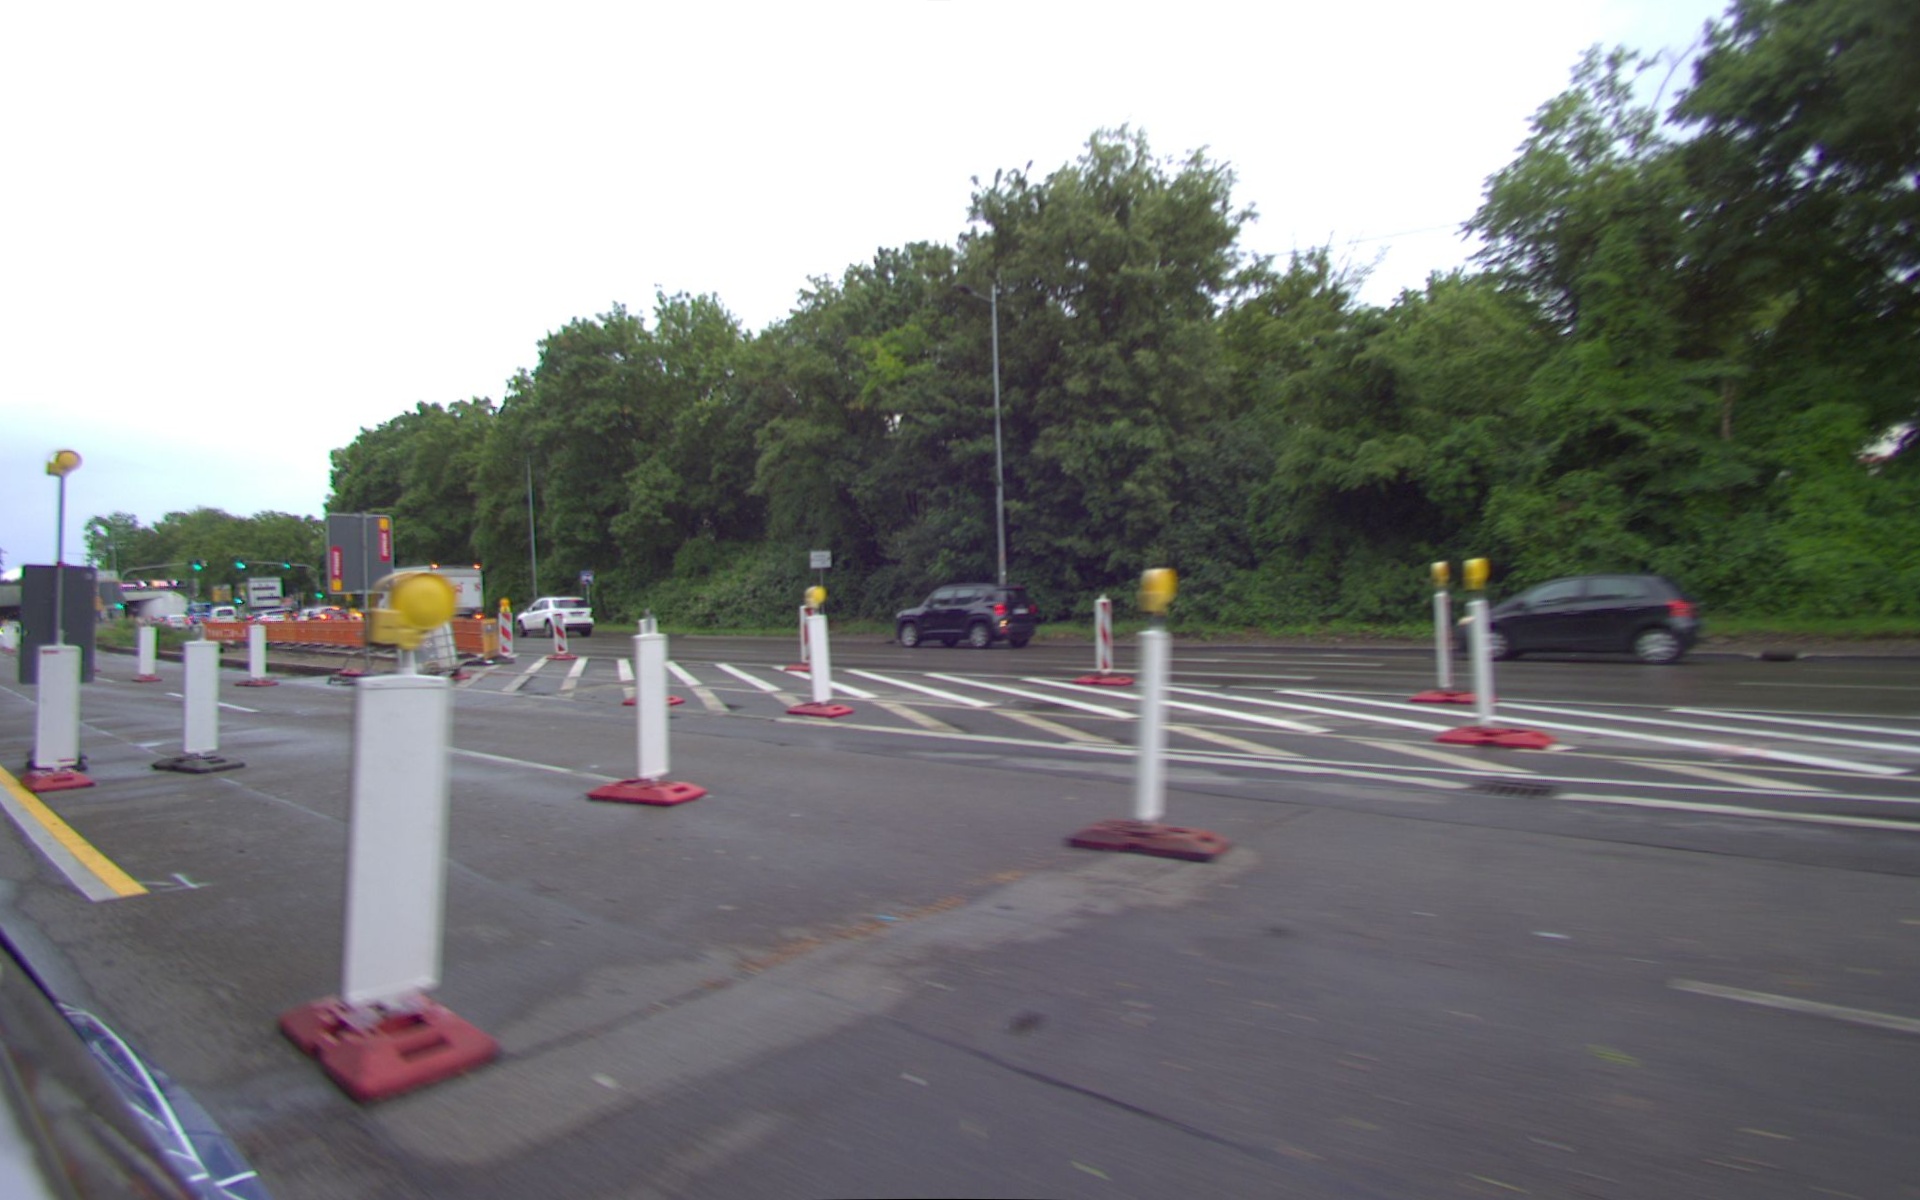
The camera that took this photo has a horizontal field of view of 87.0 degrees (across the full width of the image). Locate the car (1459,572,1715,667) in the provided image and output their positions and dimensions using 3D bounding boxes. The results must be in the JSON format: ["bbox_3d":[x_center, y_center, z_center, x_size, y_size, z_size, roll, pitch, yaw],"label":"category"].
[{"bbox_3d":[10.741,0.349,17.455,3.538,1.468,1.509,-2,-2,41],"label":"car"}]

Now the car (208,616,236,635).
[{"bbox_3d":[-86.414,3.015,118.468,2.011,1.989,4.995,-4,0,-43],"label":"car"}]

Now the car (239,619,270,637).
[{"bbox_3d":[-66.955,2.630,96.023,1.772,1.535,4.640,-3,1,-42],"label":"car"}]

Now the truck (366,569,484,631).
[{"bbox_3d":[-30.127,0.081,56.719,10.150,3.172,2.764,-2,0,44],"label":"truck"}]

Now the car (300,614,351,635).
[{"bbox_3d":[-37.761,1.452,60.172,4.284,1.161,1.588,-2,0,44],"label":"car"}]

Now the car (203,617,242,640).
[{"bbox_3d":[-65.873,2.561,90.331,4.834,1.794,1.893,-3,0,43],"label":"car"}]

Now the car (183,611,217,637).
[{"bbox_3d":[-79.361,2.529,105.664,2.169,2.408,6.250,-4,0,-43],"label":"car"}]

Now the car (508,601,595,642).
[{"bbox_3d":[-18.466,1.002,45.647,4.720,1.736,1.824,-2,-3,44],"label":"car"}]

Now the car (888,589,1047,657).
[{"bbox_3d":[0.132,0.621,27.048,4.198,1.660,1.618,-2,-1,42],"label":"car"}]

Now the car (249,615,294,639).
[{"bbox_3d":[-49.114,1.921,72.134,4.041,1.562,1.815,-2,0,44],"label":"car"}]

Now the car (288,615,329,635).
[{"bbox_3d":[-49.825,1.909,77.411,3.897,1.436,1.771,-2,0,44],"label":"car"}]
